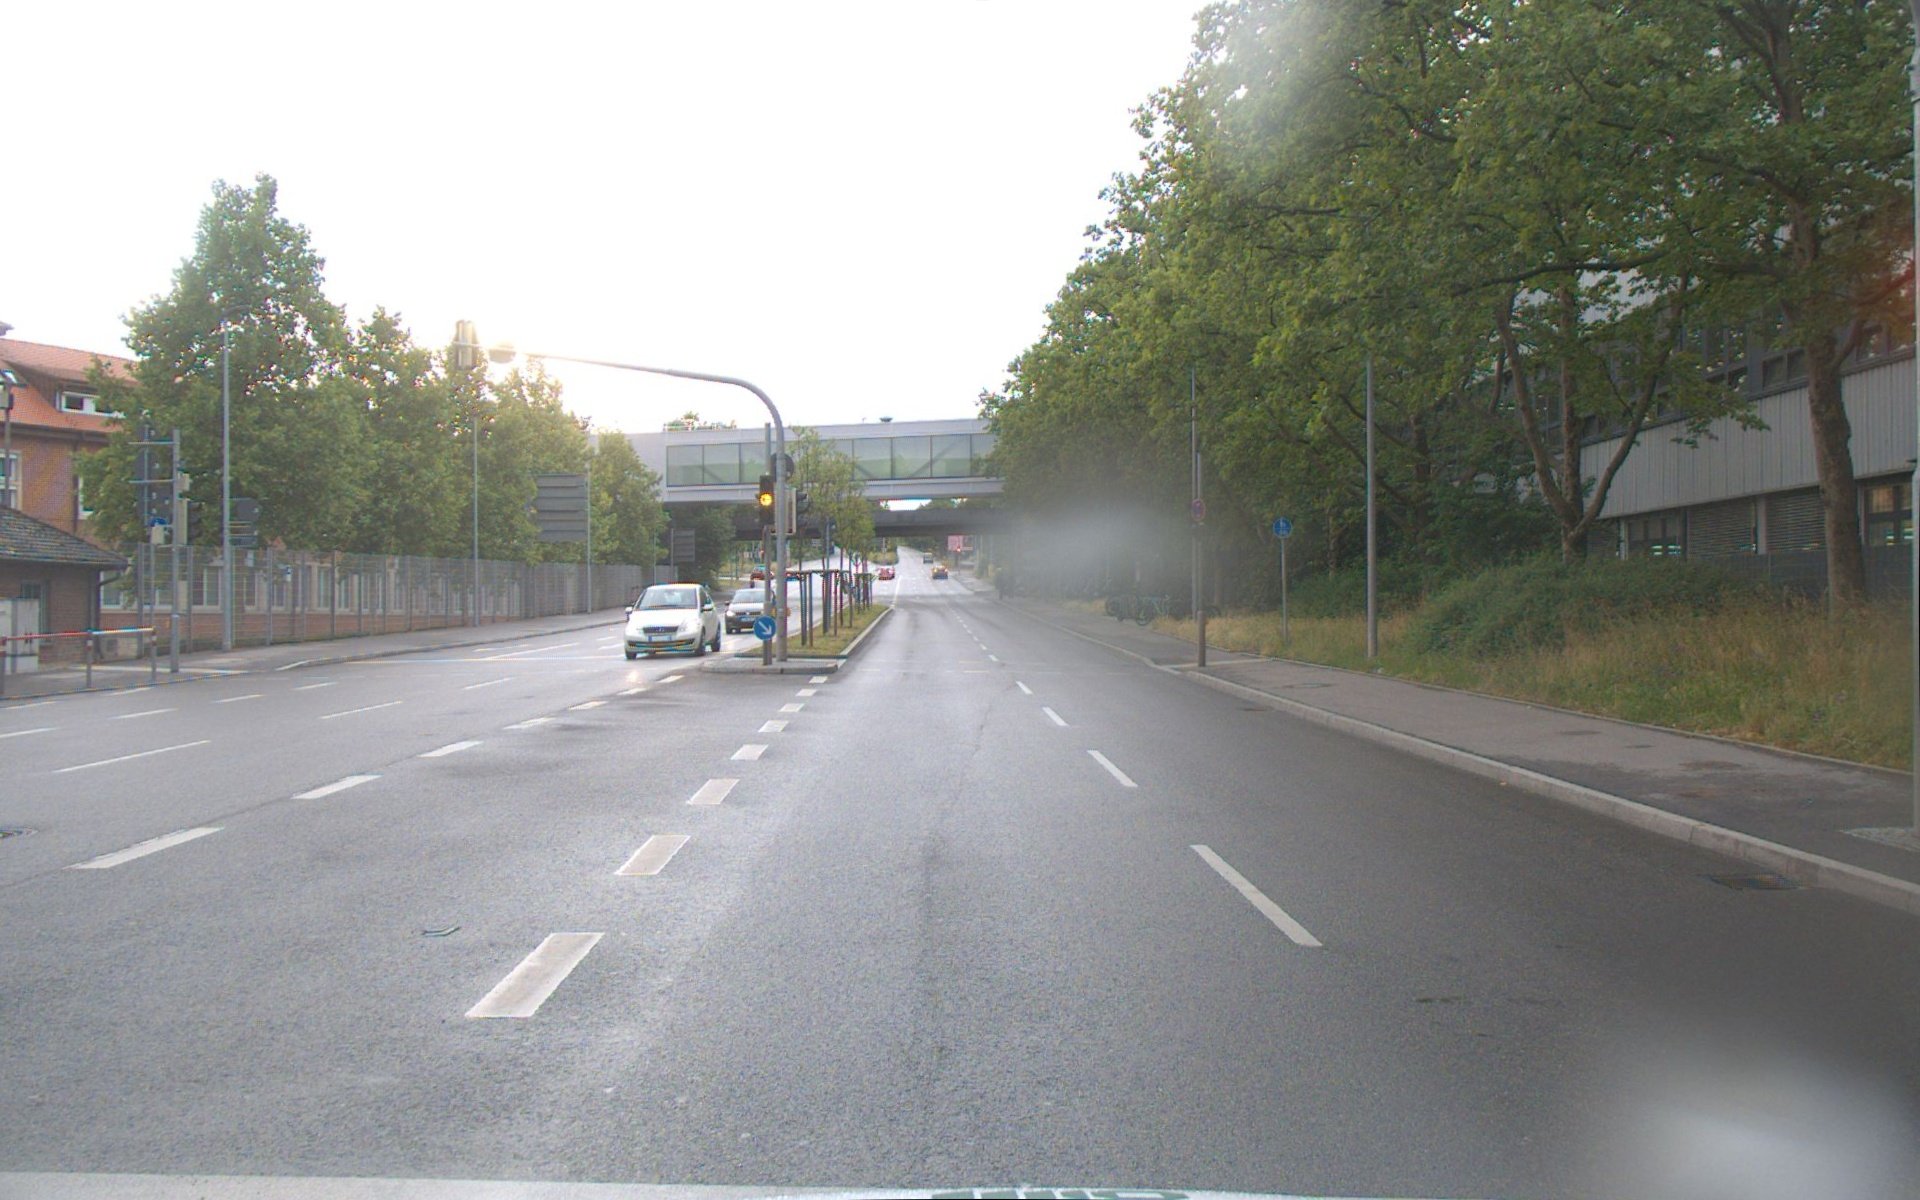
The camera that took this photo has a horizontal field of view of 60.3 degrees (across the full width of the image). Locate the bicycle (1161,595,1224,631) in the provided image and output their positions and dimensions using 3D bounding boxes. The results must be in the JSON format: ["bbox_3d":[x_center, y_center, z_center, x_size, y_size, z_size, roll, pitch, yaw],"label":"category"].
[{"bbox_3d":[7.595,0.413,53.962,1.949,1.114,0.541,2,-1,0],"label":"bicycle"}]

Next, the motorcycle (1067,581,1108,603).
[{"bbox_3d":[7.481,-0.471,96.912,2.318,1.223,0.723,-1,0,7],"label":"motorcycle"}]

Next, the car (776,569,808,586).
[{"bbox_3d":[-21.461,-2.920,211.296,1.985,2.049,3.935,3,-1,-44],"label":"car"}]

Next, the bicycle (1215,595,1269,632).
[{"bbox_3d":[10.793,0.533,63.408,1.949,1.352,0.576,2,-1,0],"label":"bicycle"}]

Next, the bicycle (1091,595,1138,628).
[{"bbox_3d":[6.573,0.479,70.450,1.920,1.352,0.576,2,-1,0],"label":"bicycle"}]

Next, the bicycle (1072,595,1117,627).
[{"bbox_3d":[6.000,0.503,73.646,1.923,1.352,0.654,2,-1,0],"label":"bicycle"}]

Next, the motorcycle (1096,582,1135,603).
[{"bbox_3d":[9.459,-0.461,100.415,2.318,1.223,0.723,-1,0,7],"label":"motorcycle"}]

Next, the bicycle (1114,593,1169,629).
[{"bbox_3d":[6.792,0.417,61.886,1.949,1.263,0.541,2,-1,0],"label":"bicycle"}]

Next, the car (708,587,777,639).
[{"bbox_3d":[-7.261,0.416,55.451,1.839,1.653,3.778,-1,0,-1],"label":"car"}]

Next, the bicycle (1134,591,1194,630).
[{"bbox_3d":[6.899,0.355,55.980,1.949,1.237,0.541,2,-1,0],"label":"bicycle"}]

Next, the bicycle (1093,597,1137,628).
[{"bbox_3d":[7.096,0.568,75.970,1.923,1.352,0.654,2,-1,0],"label":"bicycle"}]

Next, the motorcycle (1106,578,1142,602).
[{"bbox_3d":[10.771,-0.665,108.438,2.318,1.502,0.723,-1,0,7],"label":"motorcycle"}]

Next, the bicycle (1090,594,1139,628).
[{"bbox_3d":[6.453,0.471,69.211,1.949,1.352,0.576,2,-1,0],"label":"bicycle"}]

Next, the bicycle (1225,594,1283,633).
[{"bbox_3d":[10.661,0.484,60.001,1.949,1.352,0.576,2,-1,0],"label":"bicycle"}]

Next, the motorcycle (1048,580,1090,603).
[{"bbox_3d":[6.283,-0.487,95.129,2.318,1.223,0.723,-1,0,7],"label":"motorcycle"}]

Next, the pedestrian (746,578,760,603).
[{"bbox_3d":[-17.183,-0.797,137.067,0.853,2.039,0.855,-1,0,14],"label":"pedestrian"}]

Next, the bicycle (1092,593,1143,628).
[{"bbox_3d":[6.261,0.422,65.966,1.949,1.352,0.576,2,-1,0],"label":"bicycle"}]

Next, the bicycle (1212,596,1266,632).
[{"bbox_3d":[10.793,0.542,64.077,1.949,1.352,0.576,2,-1,0],"label":"bicycle"}]

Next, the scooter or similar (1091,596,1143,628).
[{"bbox_3d":[6.079,0.460,64.040,1.949,1.157,0.541,2,-1,0],"label":"scooter or similar"}]

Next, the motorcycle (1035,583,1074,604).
[{"bbox_3d":[5.704,-0.376,99.851,2.318,1.223,0.723,-1,0,7],"label":"motorcycle"}]

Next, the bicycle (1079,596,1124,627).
[{"bbox_3d":[6.378,0.525,74.457,1.923,1.352,0.654,2,-1,0],"label":"bicycle"}]

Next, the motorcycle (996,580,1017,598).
[{"bbox_3d":[3.531,-0.816,125.432,0.778,1.334,2.364,-1,0,-19],"label":"motorcycle"}]

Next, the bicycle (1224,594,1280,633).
[{"bbox_3d":[10.827,0.507,61.332,1.949,1.352,0.576,2,-1,0],"label":"bicycle"}]

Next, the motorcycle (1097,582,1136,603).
[{"bbox_3d":[9.556,-0.475,101.197,2.318,1.223,0.723,-1,0,7],"label":"motorcycle"}]

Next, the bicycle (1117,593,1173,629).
[{"bbox_3d":[6.810,0.405,60.937,1.949,1.263,0.541,2,-1,0],"label":"bicycle"}]

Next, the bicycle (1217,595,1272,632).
[{"bbox_3d":[10.789,0.524,62.760,1.949,1.352,0.576,2,-1,0],"label":"bicycle"}]

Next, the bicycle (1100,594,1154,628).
[{"bbox_3d":[6.382,0.422,63.253,1.949,1.263,0.541,2,-1,0],"label":"bicycle"}]

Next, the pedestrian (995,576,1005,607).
[{"bbox_3d":[2.722,-0.582,113.574,0.609,2.049,0.605,-1,0,-1],"label":"pedestrian"}]

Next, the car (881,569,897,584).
[{"bbox_3d":[-9.090,-3.012,211.056,1.846,1.792,3.968,2,-1,-1],"label":"car"}]

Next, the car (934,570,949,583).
[{"bbox_3d":[-2.246,-2.889,203.026,1.837,1.523,4.067,2,-1,-1],"label":"car"}]

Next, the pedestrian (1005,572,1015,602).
[{"bbox_3d":[3.426,-0.867,113.602,0.609,2.049,0.605,-1,0,-1],"label":"pedestrian"}]

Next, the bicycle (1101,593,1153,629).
[{"bbox_3d":[6.590,0.422,65.162,1.949,1.352,0.576,2,-1,0],"label":"bicycle"}]

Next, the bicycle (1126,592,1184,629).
[{"bbox_3d":[6.936,0.381,58.793,1.949,1.263,0.541,2,-1,0],"label":"bicycle"}]

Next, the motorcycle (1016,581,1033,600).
[{"bbox_3d":[4.728,-0.695,122.177,0.775,1.334,2.371,-1,0,-9],"label":"motorcycle"}]

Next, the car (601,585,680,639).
[{"bbox_3d":[-10.395,0.364,54.068,1.839,1.653,3.778,-1,0,-1],"label":"car"}]

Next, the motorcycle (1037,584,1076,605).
[{"bbox_3d":[5.911,-0.356,101.626,2.318,1.223,0.723,-1,0,7],"label":"motorcycle"}]

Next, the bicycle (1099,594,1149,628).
[{"bbox_3d":[6.785,0.460,68.505,1.949,1.352,0.576,2,-1,0],"label":"bicycle"}]

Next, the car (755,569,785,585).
[{"bbox_3d":[-25.042,-3.018,217.983,1.985,2.049,3.935,3,-1,-44],"label":"car"}]

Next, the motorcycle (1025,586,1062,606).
[{"bbox_3d":[5.484,-0.282,108.330,2.318,1.223,0.793,-1,0,7],"label":"motorcycle"}]

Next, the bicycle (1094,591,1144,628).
[{"bbox_3d":[6.503,0.388,67.647,1.949,1.455,0.723,2,-1,0],"label":"bicycle"}]

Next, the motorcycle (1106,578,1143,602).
[{"bbox_3d":[10.685,-0.639,107.202,2.318,1.502,0.723,-1,0,7],"label":"motorcycle"}]

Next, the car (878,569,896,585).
[{"bbox_3d":[-9.106,-2.824,206.547,1.953,1.792,3.999,2,-1,-1],"label":"car"}]

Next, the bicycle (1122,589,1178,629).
[{"bbox_3d":[6.916,0.332,60.248,1.949,1.364,0.541,2,-1,0],"label":"bicycle"}]

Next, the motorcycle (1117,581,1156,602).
[{"bbox_3d":[10.588,-0.507,99.093,2.318,1.223,0.723,-1,0,7],"label":"motorcycle"}]

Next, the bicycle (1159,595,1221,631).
[{"bbox_3d":[7.588,0.420,54.531,1.949,1.114,0.541,2,-1,0],"label":"bicycle"}]

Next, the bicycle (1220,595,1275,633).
[{"bbox_3d":[10.798,0.516,62.095,1.949,1.352,0.576,2,-1,0],"label":"bicycle"}]

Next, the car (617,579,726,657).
[{"bbox_3d":[-6.518,0.377,37.745,1.839,1.653,3.778,-1,0,-1],"label":"car"}]

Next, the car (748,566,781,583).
[{"bbox_3d":[-23.983,-3.118,203.142,1.985,2.049,3.935,3,-1,-44],"label":"car"}]

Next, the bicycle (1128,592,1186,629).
[{"bbox_3d":[6.931,0.377,58.197,1.949,1.255,0.541,2,-1,0],"label":"bicycle"}]
